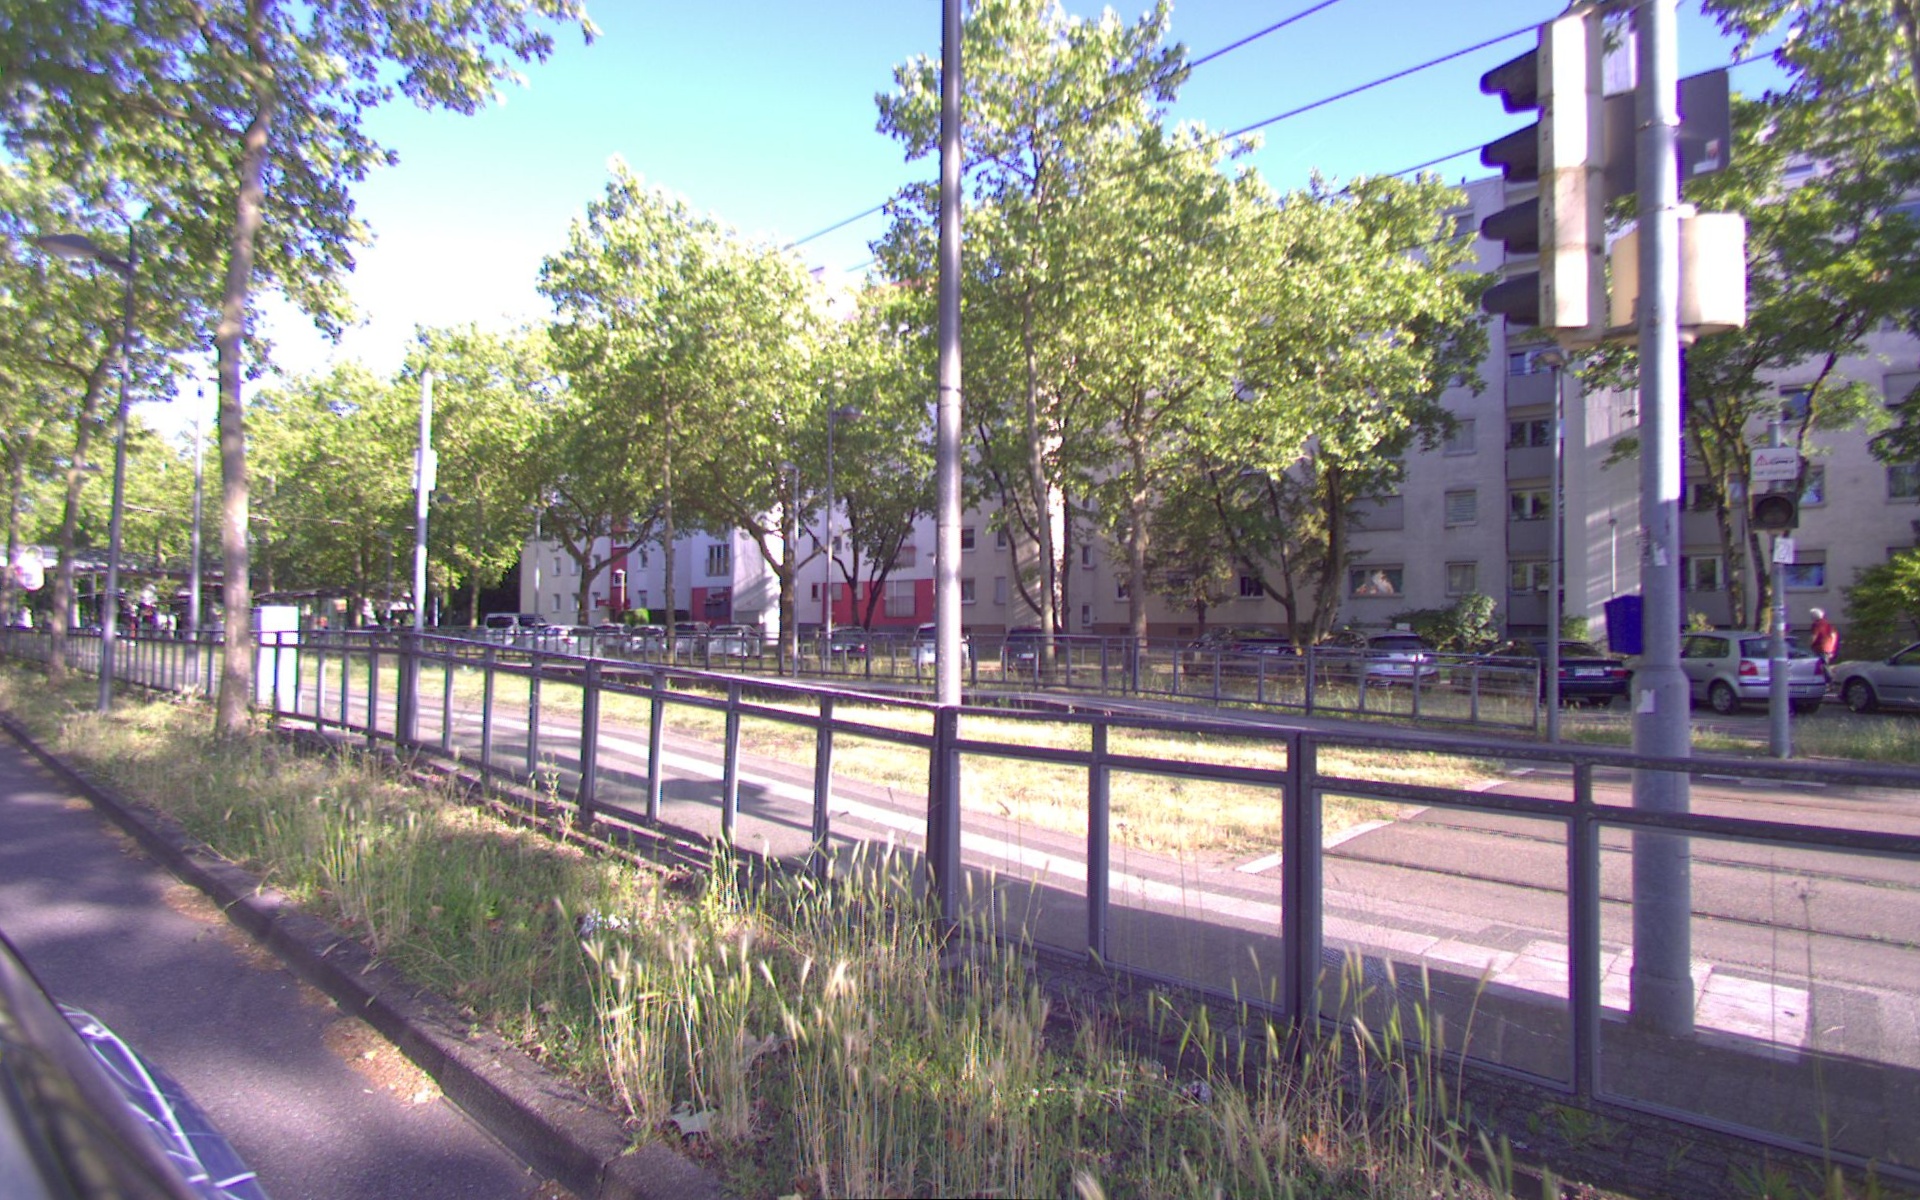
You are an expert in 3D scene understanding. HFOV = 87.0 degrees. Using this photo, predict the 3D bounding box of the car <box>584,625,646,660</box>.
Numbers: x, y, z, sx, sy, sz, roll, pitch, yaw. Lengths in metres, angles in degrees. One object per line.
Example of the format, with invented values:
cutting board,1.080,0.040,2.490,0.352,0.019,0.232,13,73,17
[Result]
car,-16.046,1.973,47.290,1.870,1.515,4.506,-1,-1,-7

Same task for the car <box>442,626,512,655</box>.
car,-27.758,2.292,58.290,1.873,1.509,4.500,-2,-1,0

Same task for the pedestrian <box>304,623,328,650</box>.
pedestrian,-28.868,1.640,45.374,0.662,1.136,0.687,-1,-5,43

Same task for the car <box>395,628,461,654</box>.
car,-32.533,2.466,61.981,1.678,1.439,4.196,-2,-1,3

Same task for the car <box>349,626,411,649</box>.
car,-39.332,2.522,68.748,1.678,1.439,4.196,-2,-1,3

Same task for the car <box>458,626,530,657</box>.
car,-25.466,2.248,55.469,1.873,1.509,4.500,-2,-1,0

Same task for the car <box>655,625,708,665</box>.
car,-11.765,1.859,42.926,1.551,1.580,4.066,-1,-1,-7

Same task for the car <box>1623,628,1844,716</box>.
car,14.281,1.269,18.913,1.549,1.442,3.287,-1,-1,-1

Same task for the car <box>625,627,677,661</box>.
car,-13.784,1.938,45.298,1.551,1.443,4.066,-1,-1,-7

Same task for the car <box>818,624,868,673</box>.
car,-4.080,1.639,35.260,1.621,1.556,4.181,-1,-1,-7

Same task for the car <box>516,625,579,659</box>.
car,-20.877,2.110,51.390,1.665,1.623,4.061,-1,-1,-2

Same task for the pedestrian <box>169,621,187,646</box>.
pedestrian,-49.037,2.091,63.473,0.681,1.525,0.638,0,-3,29

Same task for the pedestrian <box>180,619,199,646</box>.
pedestrian,-48.278,2.055,63.403,0.715,1.647,0.721,-1,-3,39

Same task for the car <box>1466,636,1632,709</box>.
car,11.799,1.412,20.519,1.445,1.263,3.382,0,-1,2

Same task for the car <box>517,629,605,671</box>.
car,-14.964,1.829,37.898,3.717,1.460,1.614,-1,-1,42

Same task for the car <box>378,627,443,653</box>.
car,-34.620,2.499,63.906,1.678,1.439,4.196,-2,-1,3

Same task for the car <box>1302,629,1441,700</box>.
car,9.236,1.401,22.978,1.516,1.437,3.388,0,-1,-5

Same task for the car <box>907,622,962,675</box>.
car,-0.758,1.518,32.585,1.623,1.556,3.992,-1,-1,0

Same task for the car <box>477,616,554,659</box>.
car,-23.178,1.911,52.989,1.875,2.079,4.496,-2,-1,3

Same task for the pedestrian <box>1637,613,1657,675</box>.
pedestrian,20.047,1.275,29.536,0.449,1.805,0.315,-1,-2,36

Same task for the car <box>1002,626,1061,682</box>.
car,2.154,1.548,29.816,1.448,1.520,3.375,-1,-2,8

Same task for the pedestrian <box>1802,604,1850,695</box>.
pedestrian,17.549,0.989,20.518,0.717,1.805,0.470,-1,-1,41

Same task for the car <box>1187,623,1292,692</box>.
car,6.783,1.364,24.849,1.442,1.559,3.142,0,-1,-5

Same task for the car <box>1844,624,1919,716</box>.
car,16.676,1.162,16.174,1.609,1.487,3.920,0,-1,0

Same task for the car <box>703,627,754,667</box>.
car,-9.141,1.816,40.146,1.551,1.485,4.066,-1,-1,-7
